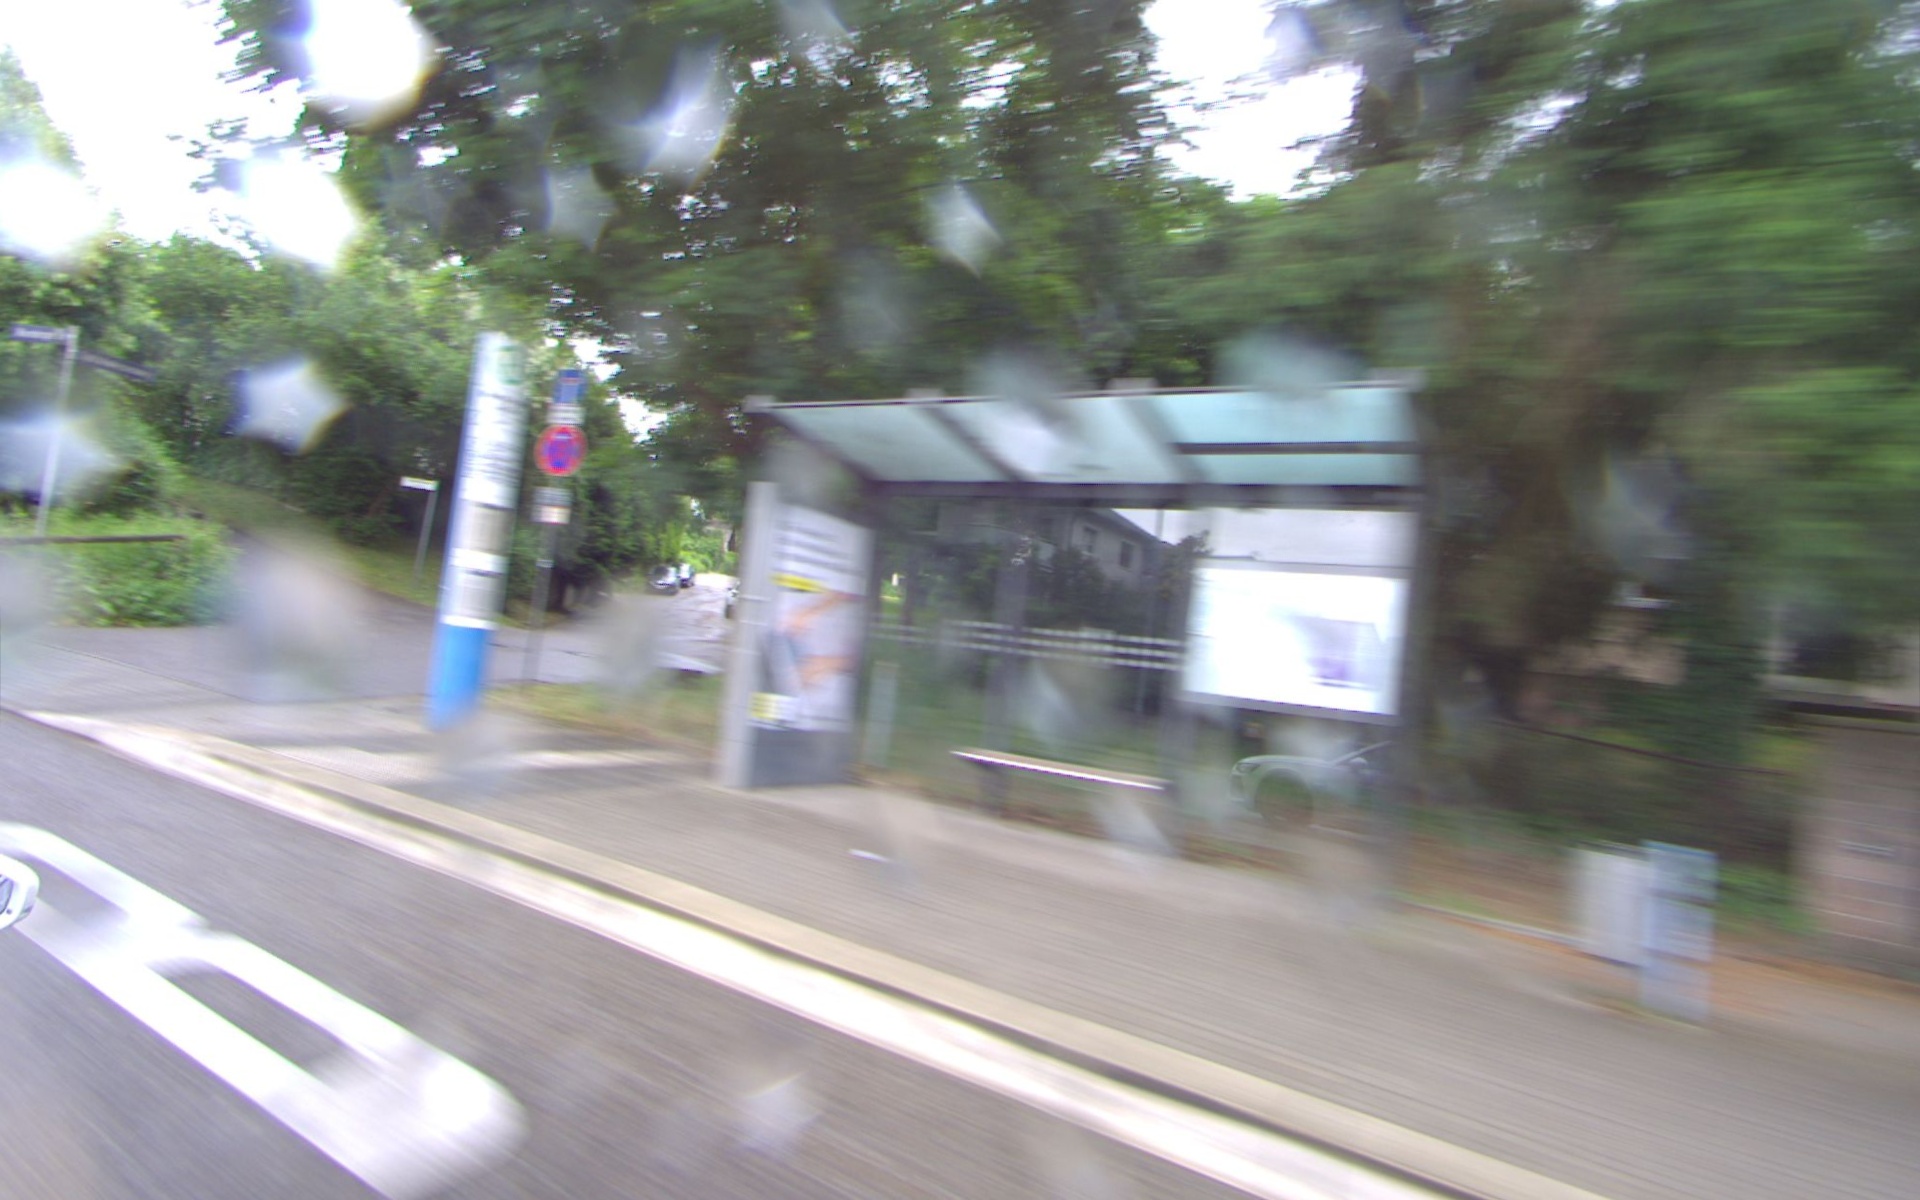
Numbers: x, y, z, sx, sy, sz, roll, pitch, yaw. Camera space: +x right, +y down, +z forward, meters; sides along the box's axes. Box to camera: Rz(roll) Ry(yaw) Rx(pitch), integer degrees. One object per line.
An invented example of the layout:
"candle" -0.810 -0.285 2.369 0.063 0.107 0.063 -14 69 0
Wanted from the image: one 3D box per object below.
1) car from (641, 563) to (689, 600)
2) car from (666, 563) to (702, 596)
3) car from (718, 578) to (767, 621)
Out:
"car" -16.384 -0.997 56.051 1.966 1.613 3.999 6 -4 -10
"car" -17.503 -1.280 63.889 1.968 1.613 3.995 6 -4 -14
"car" -9.974 -0.005 46.339 1.824 1.640 3.995 8 -2 -10
